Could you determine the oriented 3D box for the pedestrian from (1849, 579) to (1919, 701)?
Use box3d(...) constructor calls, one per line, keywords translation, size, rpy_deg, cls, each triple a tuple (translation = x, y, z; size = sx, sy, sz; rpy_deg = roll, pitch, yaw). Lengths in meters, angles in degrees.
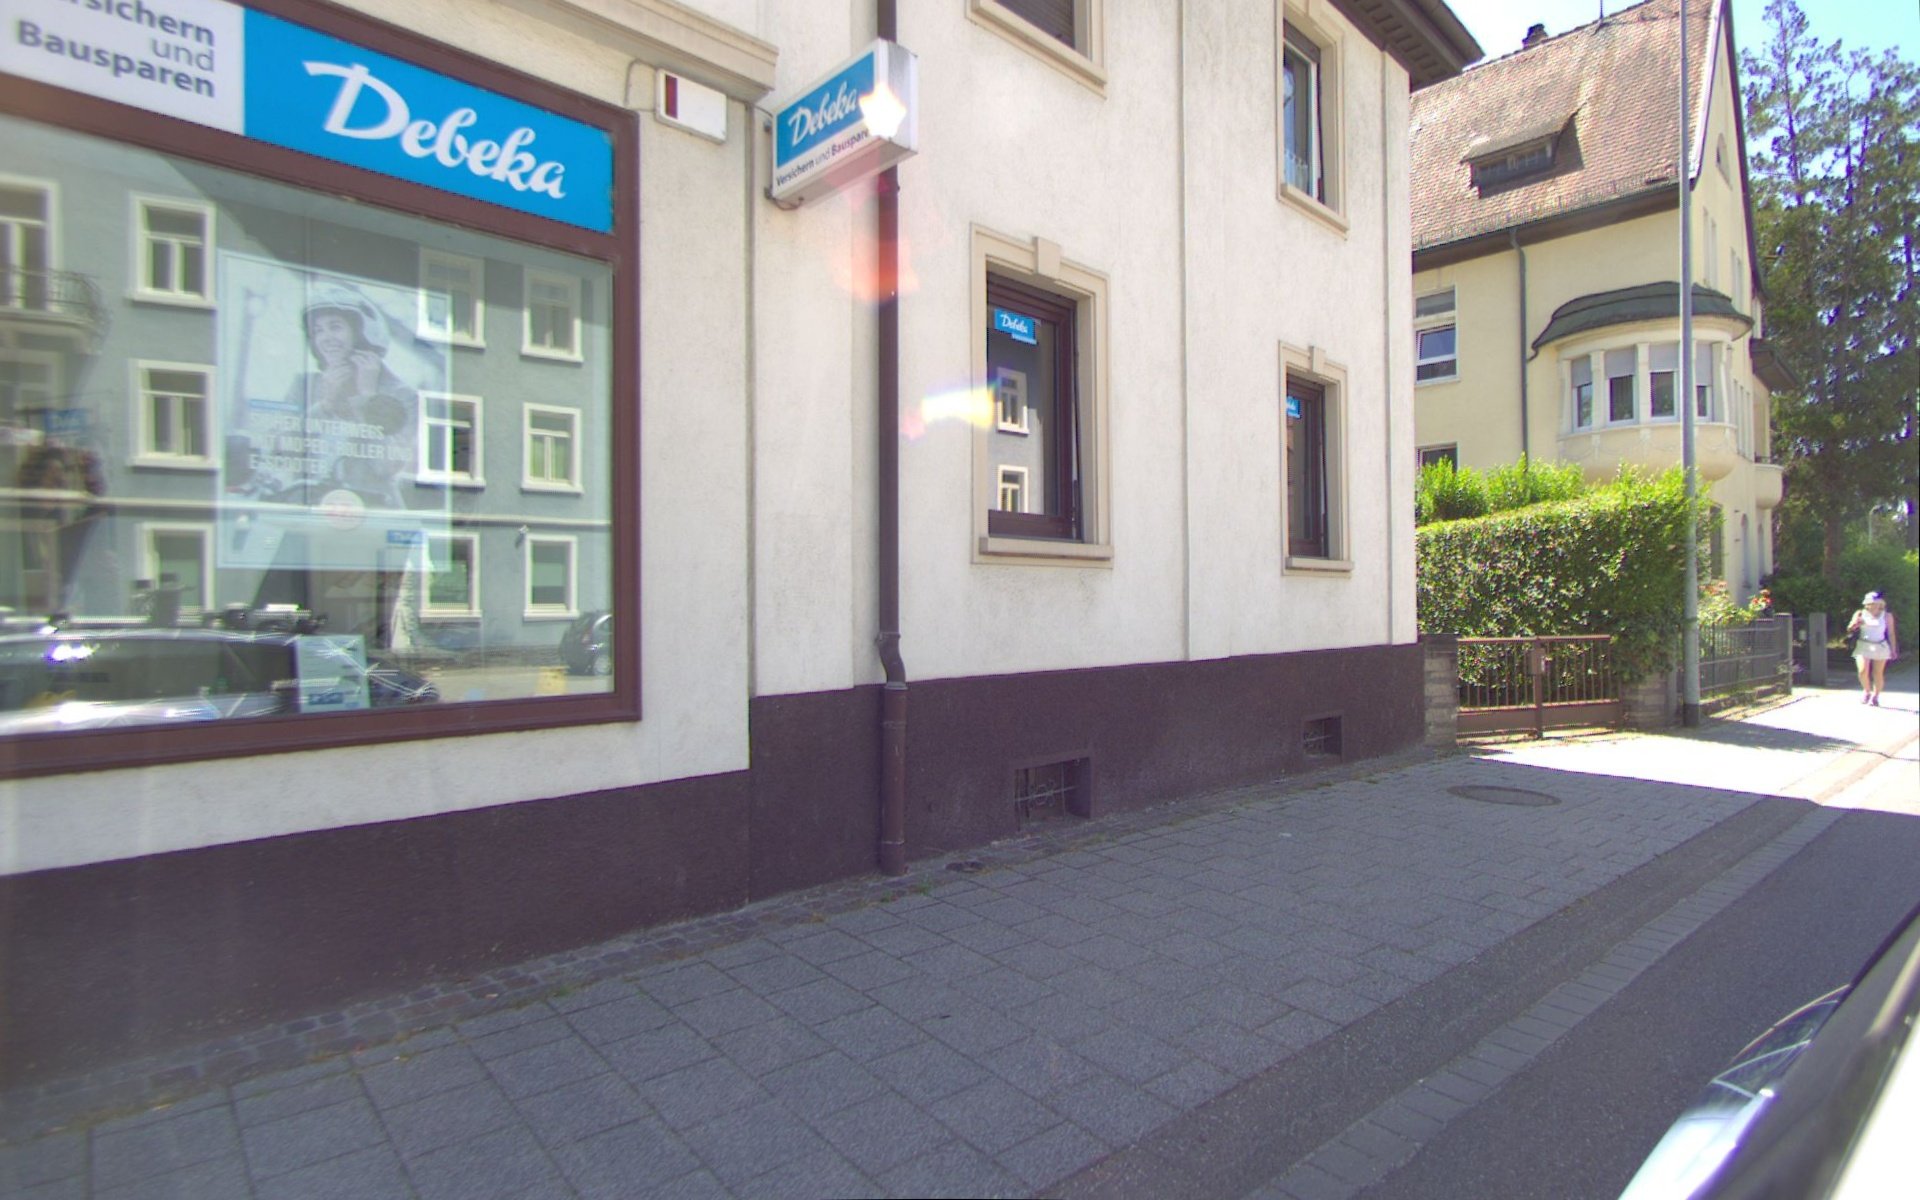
box3d(translation=(13.295, 0.544, 14.547), size=(0.759, 1.663, 0.624), rpy_deg=(-1, 4, -45), cls="pedestrian")
